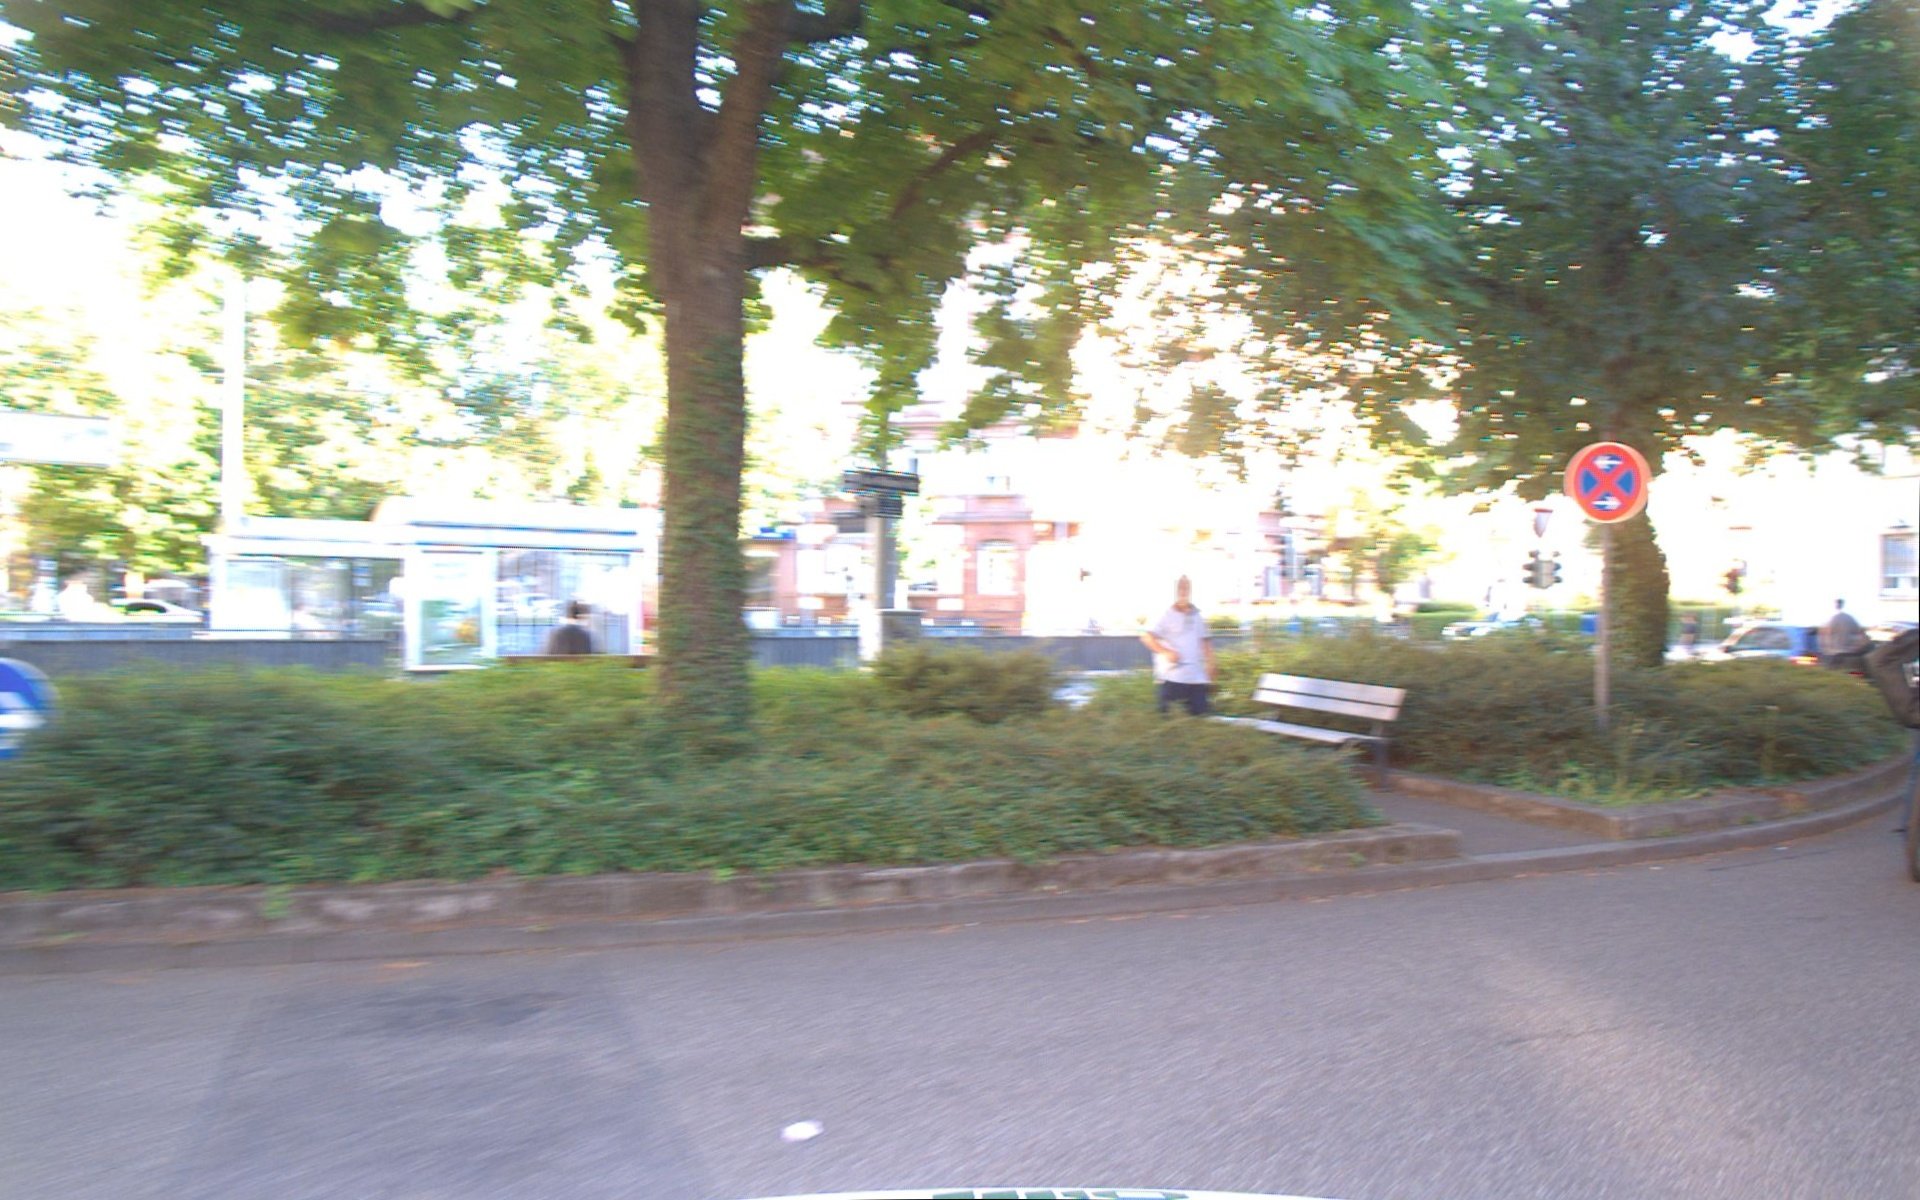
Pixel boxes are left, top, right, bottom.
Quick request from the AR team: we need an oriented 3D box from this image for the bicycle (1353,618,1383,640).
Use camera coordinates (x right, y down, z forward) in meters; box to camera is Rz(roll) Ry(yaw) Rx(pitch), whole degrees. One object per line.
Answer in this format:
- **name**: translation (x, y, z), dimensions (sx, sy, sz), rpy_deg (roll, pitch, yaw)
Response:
- **bicycle**: translation (16.584, 1.192, 67.232), dimensions (1.204, 0.877, 0.447), rpy_deg (1, 0, -24)

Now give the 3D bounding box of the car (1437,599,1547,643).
- **car**: translation (20.444, 0.777, 63.506), dimensions (4.332, 1.522, 1.972), rpy_deg (-2, 1, -39)

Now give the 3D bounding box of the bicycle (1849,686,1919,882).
- **bicycle**: translation (6.123, 1.075, 10.088), dimensions (2.045, 1.072, 0.665), rpy_deg (2, -2, -45)

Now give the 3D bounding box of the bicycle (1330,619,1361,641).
- **bicycle**: translation (15.537, 1.217, 66.666), dimensions (1.204, 0.877, 0.447), rpy_deg (1, 0, -24)

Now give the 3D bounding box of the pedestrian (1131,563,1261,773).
- **pedestrian**: translation (1.981, 0.555, 13.959), dimensions (0.899, 1.713, 0.778), rpy_deg (0, 0, -9)

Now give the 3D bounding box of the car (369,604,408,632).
- **car**: translation (-33.975, 1.067, 98.374), dimensions (1.730, 1.635, 3.987), rpy_deg (0, 0, -13)

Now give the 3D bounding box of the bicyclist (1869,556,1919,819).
- **bicyclist**: translation (6.052, 0.519, 10.033), dimensions (1.061, 1.541, 0.662), rpy_deg (1, -2, -45)

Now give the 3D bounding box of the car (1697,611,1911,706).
- **car**: translation (15.301, 1.029, 30.218), dimensions (1.776, 1.570, 3.957), rpy_deg (-1, -1, -1)

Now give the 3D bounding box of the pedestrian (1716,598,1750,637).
- **pedestrian**: translation (39.773, 0.898, 85.111), dimensions (1.376, 1.996, 1.143), rpy_deg (1, 0, -44)

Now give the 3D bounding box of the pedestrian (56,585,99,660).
- **pedestrian**: translation (-20.784, 0.530, 38.944), dimensions (0.698, 1.725, 0.661), rpy_deg (3, -1, -41)

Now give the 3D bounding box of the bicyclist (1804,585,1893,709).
- **bicyclist**: translation (14.138, 0.736, 26.348), dimensions (0.833, 1.931, 1.140), rpy_deg (0, 0, 2)

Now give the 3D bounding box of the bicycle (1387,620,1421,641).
- **bicycle**: translation (18.460, 1.262, 68.781), dimensions (1.423, 0.877, 0.447), rpy_deg (1, 0, -24)

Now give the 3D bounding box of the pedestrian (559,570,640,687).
- **pedestrian**: translation (-6.058, 0.470, 27.784), dimensions (1.011, 1.931, 0.899), rpy_deg (1, 0, -41)

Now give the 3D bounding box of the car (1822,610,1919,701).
- **car**: translation (18.159, 1.016, 31.126), dimensions (1.853, 1.605, 4.000), rpy_deg (0, 0, 1)

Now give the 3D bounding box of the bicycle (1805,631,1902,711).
- **bicycle**: translation (14.170, 1.100, 26.292), dimensions (0.585, 1.182, 2.043), rpy_deg (0, 0, 5)

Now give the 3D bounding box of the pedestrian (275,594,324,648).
- **pedestrian**: translation (-20.698, 0.650, 51.808), dimensions (0.983, 1.659, 1.061), rpy_deg (0, 0, 35)

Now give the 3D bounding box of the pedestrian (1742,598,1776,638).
- **pedestrian**: translation (40.768, 0.928, 84.398), dimensions (1.376, 1.996, 1.143), rpy_deg (1, 0, -44)

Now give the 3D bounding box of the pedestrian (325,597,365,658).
- **pedestrian**: translation (-16.108, 0.719, 43.310), dimensions (0.801, 1.570, 0.812), rpy_deg (3, -1, -30)

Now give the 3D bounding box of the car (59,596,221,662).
- **car**: translation (-24.715, 0.843, 49.921), dimensions (3.970, 1.903, 1.967), rpy_deg (0, 0, -45)

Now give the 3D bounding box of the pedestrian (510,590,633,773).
- **pedestrian**: translation (-3.758, 0.763, 16.039), dimensions (0.877, 1.713, 0.820), rpy_deg (0, 0, 15)
